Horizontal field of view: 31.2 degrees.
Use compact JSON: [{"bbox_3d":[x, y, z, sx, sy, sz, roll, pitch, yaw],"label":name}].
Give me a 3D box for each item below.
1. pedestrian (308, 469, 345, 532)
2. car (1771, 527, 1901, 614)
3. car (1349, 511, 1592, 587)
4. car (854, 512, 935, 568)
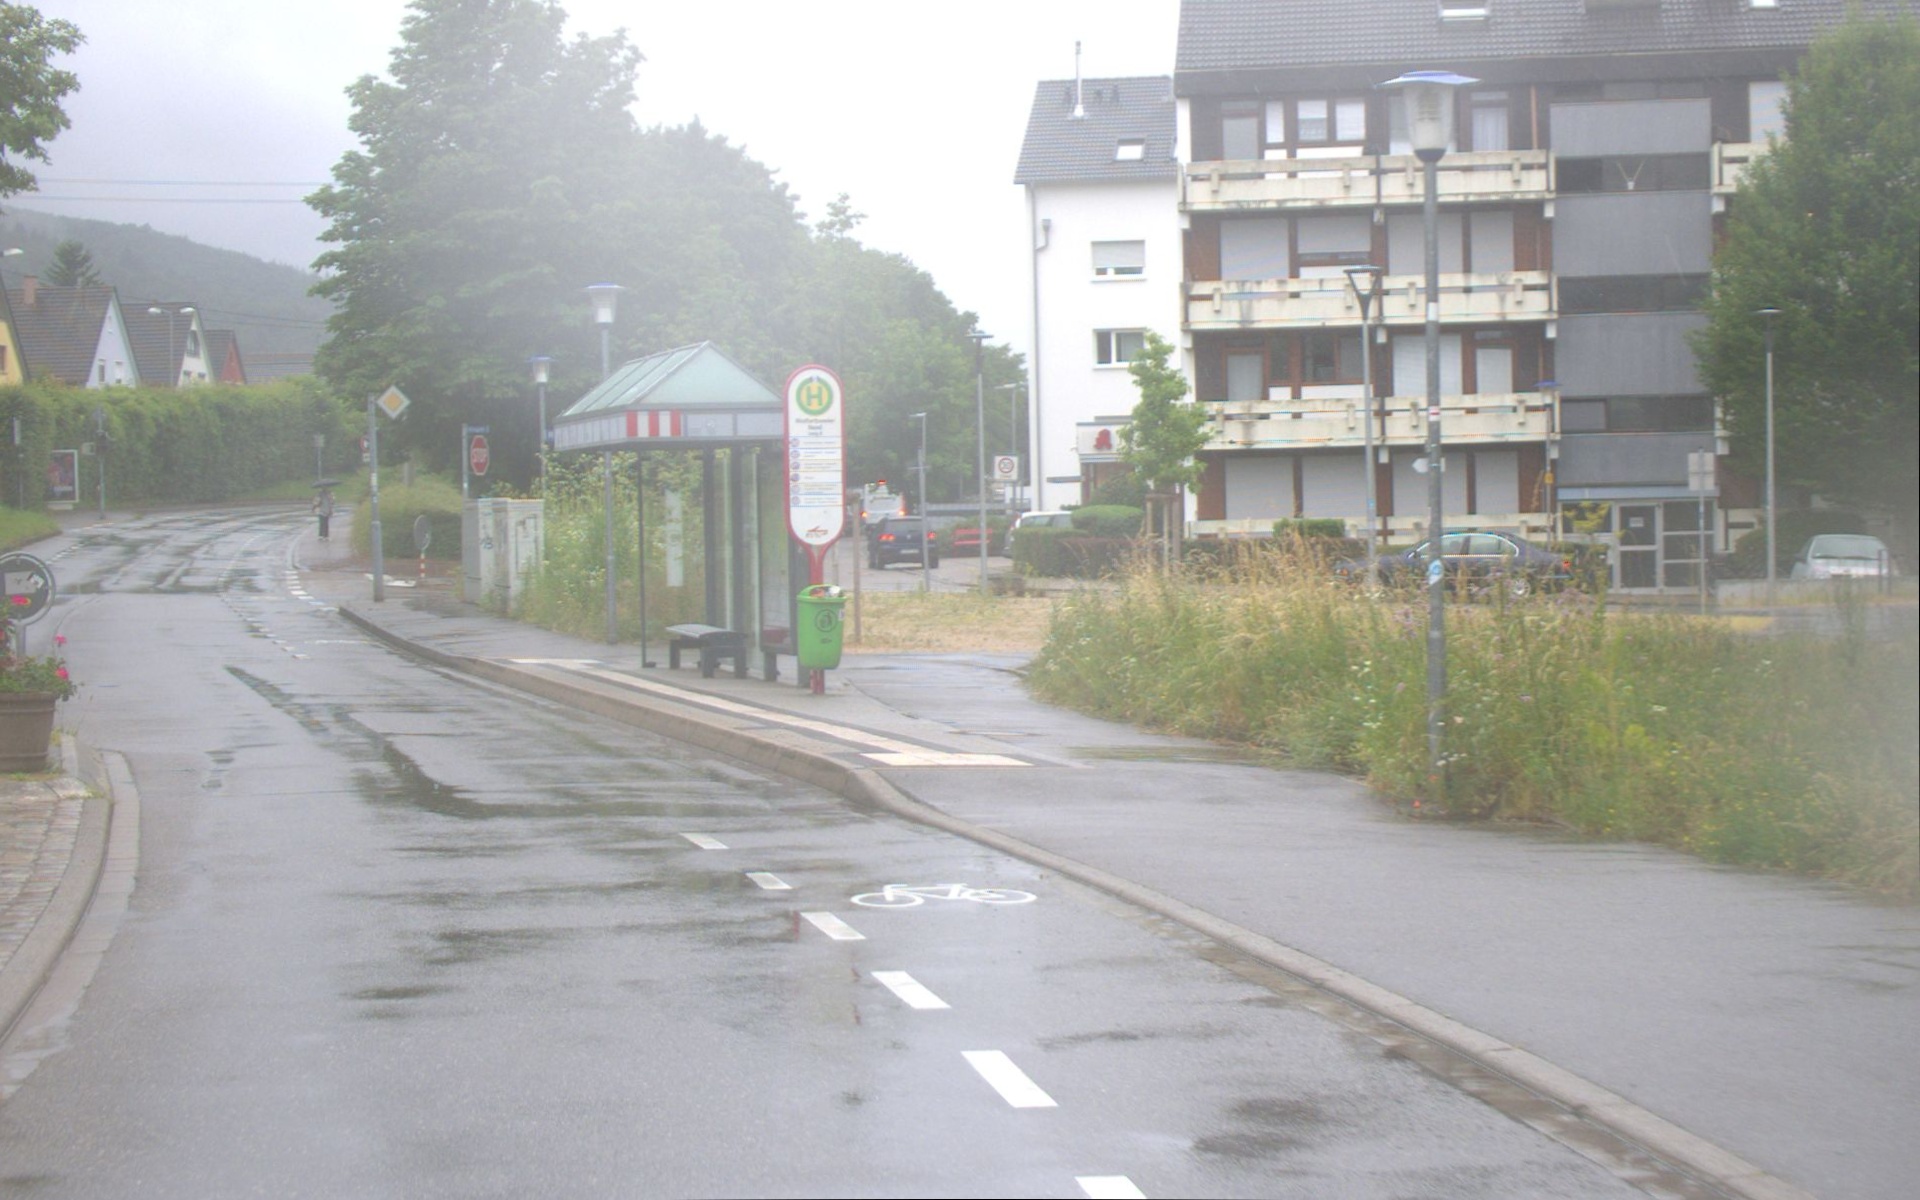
[{"bbox_3d":[-17.382,-2.748,94.356,0.919,1.669,1.057,-3,3,-10],"label":"pedestrian"},{"bbox_3d":[15.158,-0.496,59.638,1.716,1.436,3.705,0,-1,7],"label":"car"},{"bbox_3d":[9.952,-1.011,67.330,4.601,1.383,1.946,1,2,6],"label":"car"},{"bbox_3d":[-1.856,-1.695,96.254,1.688,1.433,3.613,-1,3,-10],"label":"car"}]
